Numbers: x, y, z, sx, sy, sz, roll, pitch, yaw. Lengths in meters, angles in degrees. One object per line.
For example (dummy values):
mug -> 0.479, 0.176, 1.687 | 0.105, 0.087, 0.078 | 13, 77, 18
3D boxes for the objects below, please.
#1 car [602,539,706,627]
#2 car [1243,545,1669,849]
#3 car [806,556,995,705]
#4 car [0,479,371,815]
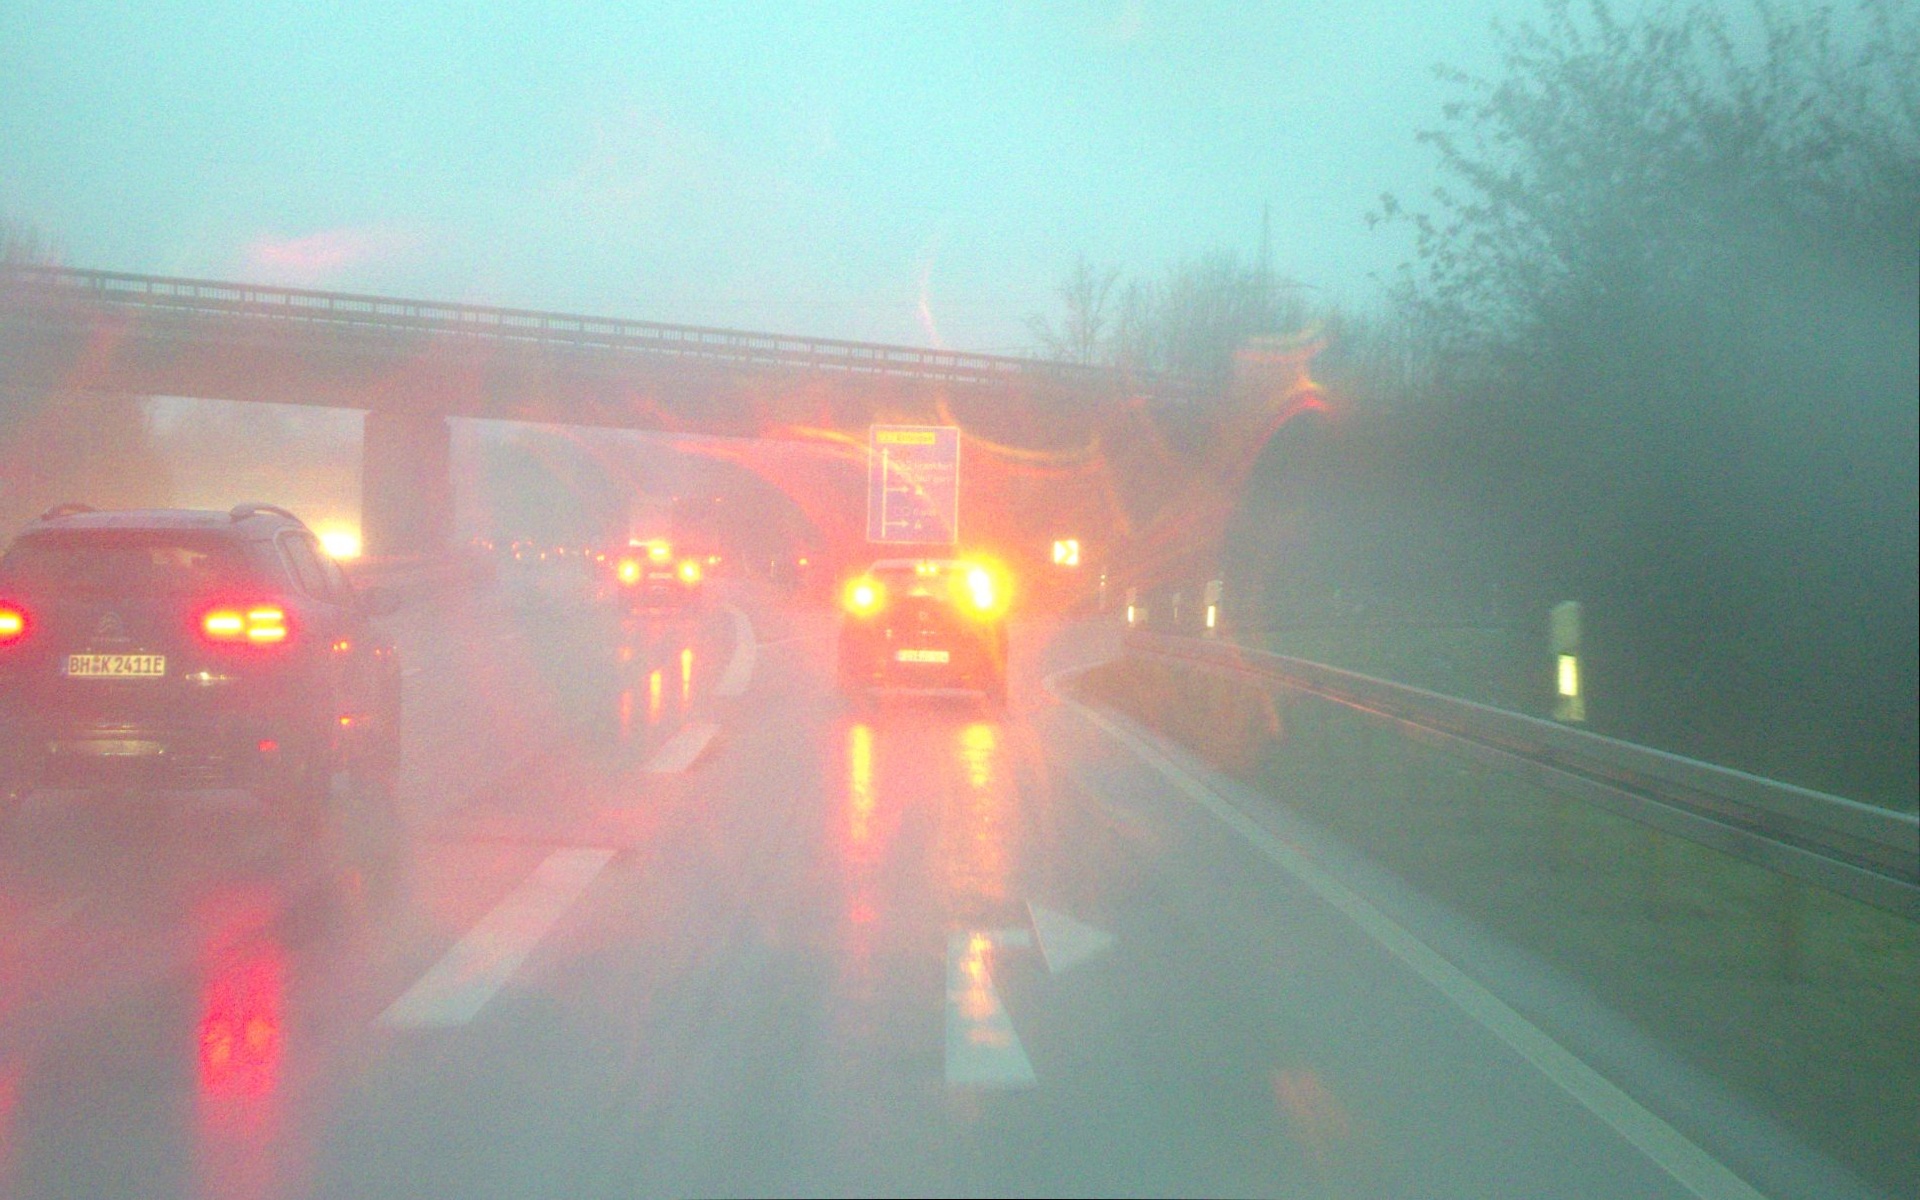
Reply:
car -> -6.390, -0.373, 72.027 | 1.878, 1.611, 3.875 | 2, 3, -2
car -> 2.473, 0.450, 17.977 | 1.683, 1.413, 3.874 | 0, 0, 0
car -> -0.560, 0.274, 35.386 | 1.732, 1.424, 3.765 | 0, 1, 2
car -> -4.331, 0.191, 19.040 | 1.993, 1.659, 4.001 | 0, 1, -8
